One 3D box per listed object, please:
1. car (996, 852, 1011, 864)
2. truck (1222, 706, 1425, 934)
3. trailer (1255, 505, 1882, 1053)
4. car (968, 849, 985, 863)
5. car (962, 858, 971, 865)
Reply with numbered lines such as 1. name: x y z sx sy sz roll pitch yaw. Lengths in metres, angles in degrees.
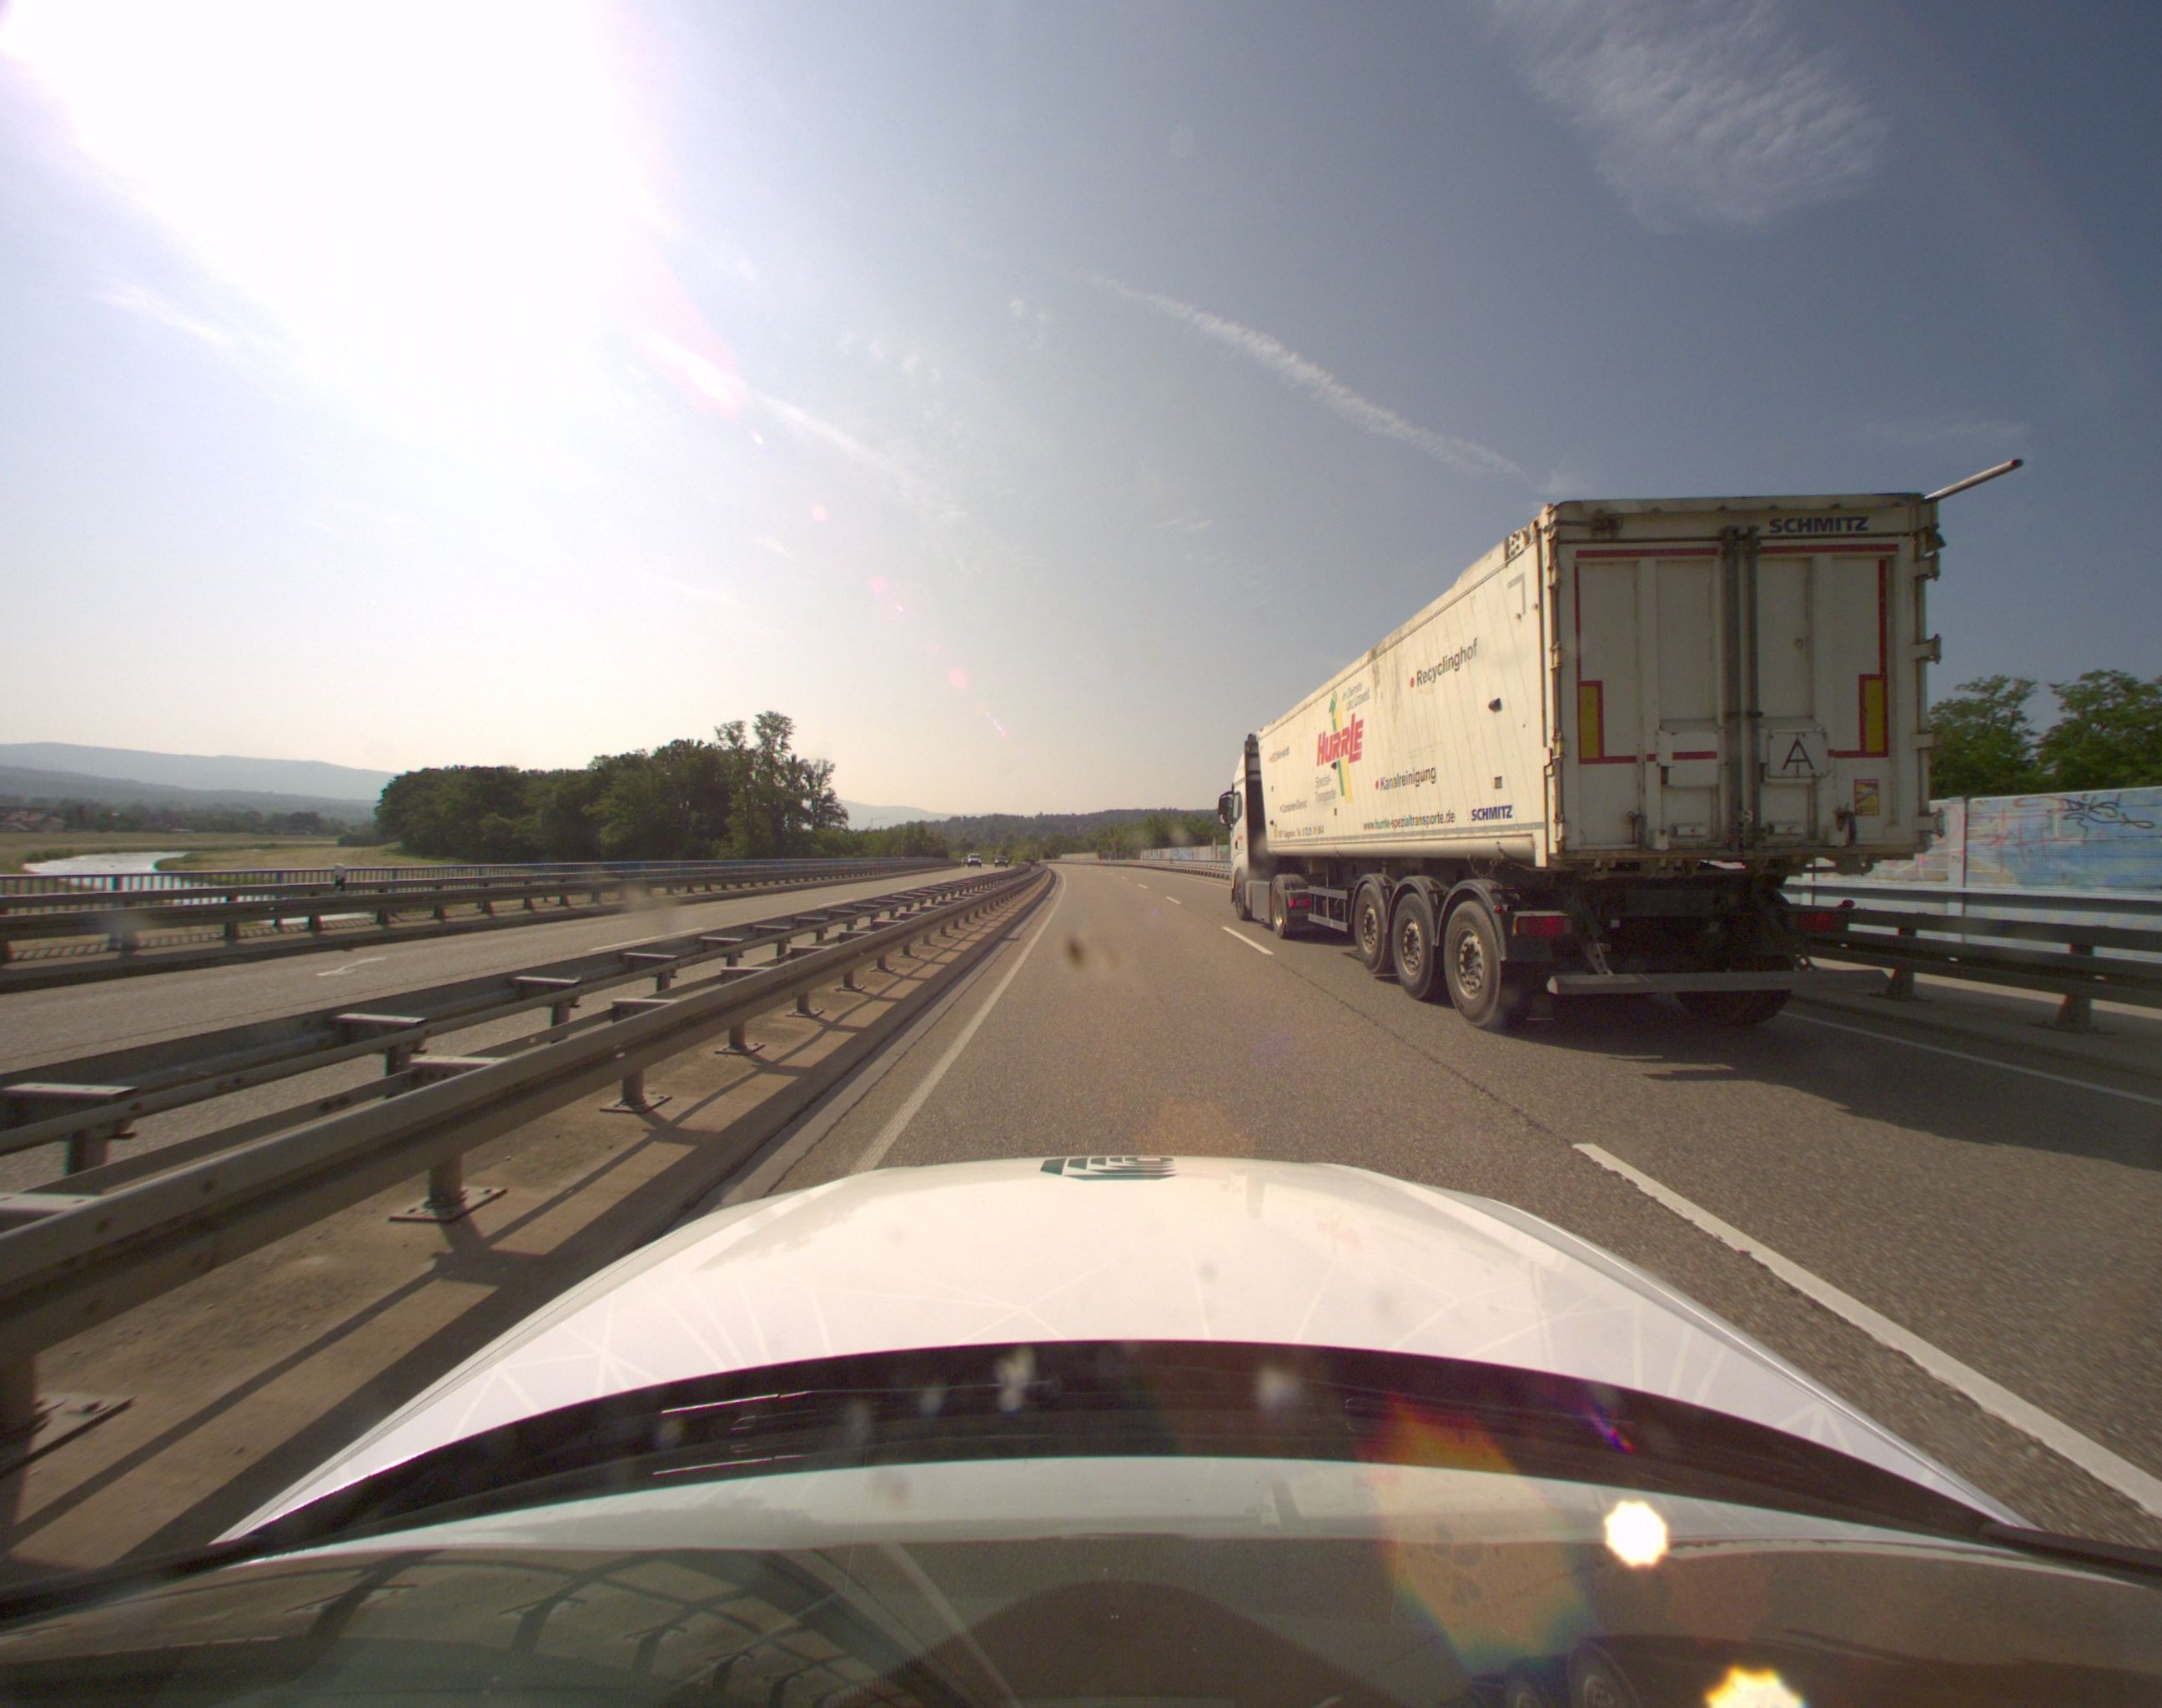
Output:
1. car: -11.457 0.577 120.514 1.860 1.607 4.413 0 0 -3
2. truck: 4.670 -0.623 16.854 2.649 3.896 5.650 0 1 2
3. trailer: 4.532 -0.580 10.689 2.669 3.907 9.676 -1 0 2
4. car: -15.112 0.293 117.686 2.034 2.006 5.302 0 0 -3
5. car: -26.769 1.656 190.595 1.721 1.596 3.992 1 -1 -5
